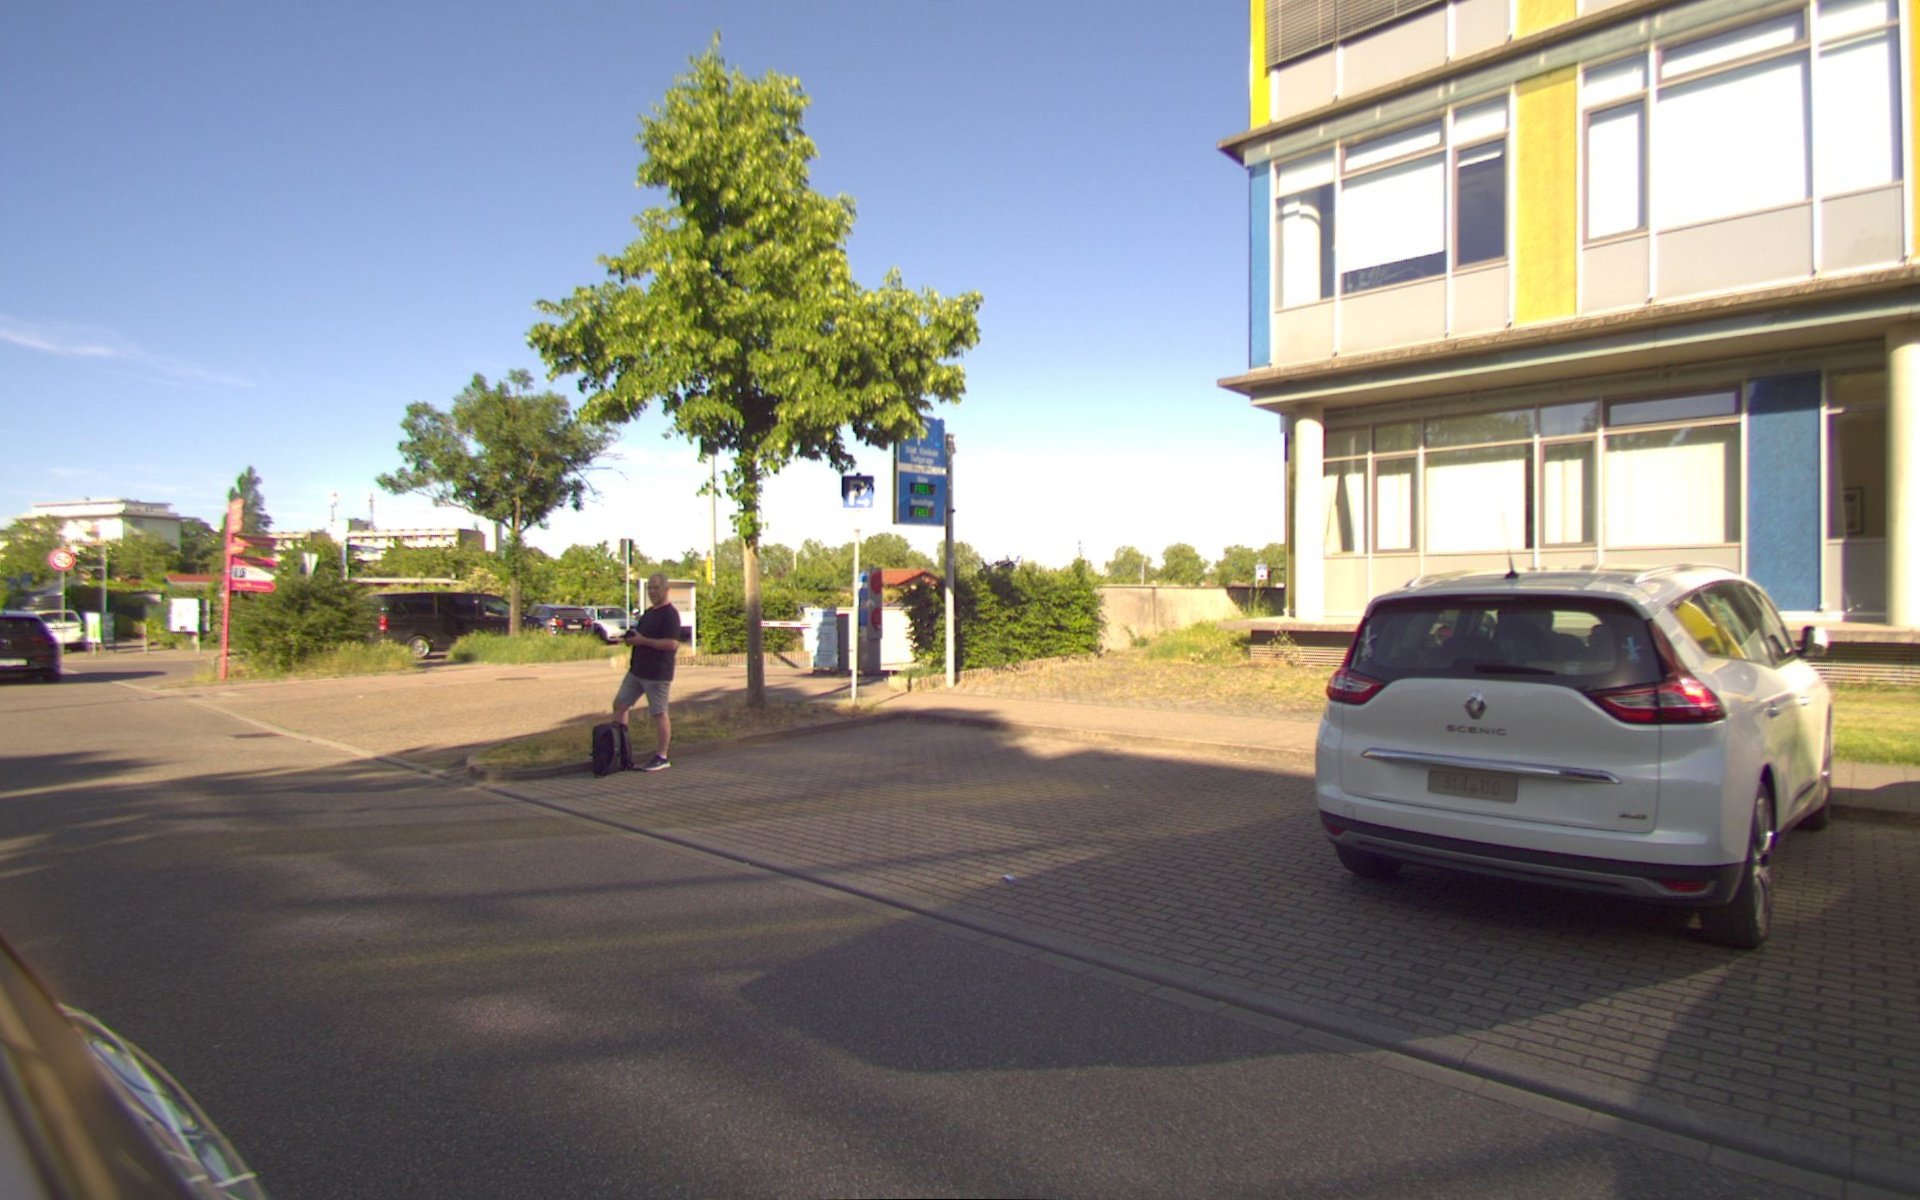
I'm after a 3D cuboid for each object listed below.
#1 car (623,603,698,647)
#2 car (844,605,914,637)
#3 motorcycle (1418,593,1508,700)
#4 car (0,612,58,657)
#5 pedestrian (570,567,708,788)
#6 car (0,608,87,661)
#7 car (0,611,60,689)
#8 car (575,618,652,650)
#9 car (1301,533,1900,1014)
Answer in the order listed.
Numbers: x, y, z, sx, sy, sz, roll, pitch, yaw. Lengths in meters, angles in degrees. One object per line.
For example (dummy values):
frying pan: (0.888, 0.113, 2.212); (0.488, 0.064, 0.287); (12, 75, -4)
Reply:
car: (-12.271, 0.992, 41.369); (1.487, 1.707, 3.851); (0, -1, -41)
car: (-4.047, 1.018, 50.192); (1.487, 1.496, 3.851); (0, -1, -41)
motorcycle: (6.303, 0.539, 12.620); (0.499, 1.158, 2.022); (-2, 1, 40)
car: (-34.673, 1.235, 37.277); (4.541, 1.456, 1.728); (-1, 2, 43)
pedestrian: (-2.897, 0.653, 9.126); (0.826, 1.856, 0.848); (-1, 1, 44)
car: (-29.908, 1.096, 32.947); (4.516, 1.524, 1.678); (-1, 2, 43)
car: (-19.404, 0.953, 20.227); (4.085, 1.462, 1.685); (-1, -2, 42)
car: (-13.487, 1.303, 39.258); (1.487, 1.160, 3.851); (0, -1, -41)
car: (3.918, 0.592, 5.768); (4.558, 1.663, 1.869); (0, 0, -44)
